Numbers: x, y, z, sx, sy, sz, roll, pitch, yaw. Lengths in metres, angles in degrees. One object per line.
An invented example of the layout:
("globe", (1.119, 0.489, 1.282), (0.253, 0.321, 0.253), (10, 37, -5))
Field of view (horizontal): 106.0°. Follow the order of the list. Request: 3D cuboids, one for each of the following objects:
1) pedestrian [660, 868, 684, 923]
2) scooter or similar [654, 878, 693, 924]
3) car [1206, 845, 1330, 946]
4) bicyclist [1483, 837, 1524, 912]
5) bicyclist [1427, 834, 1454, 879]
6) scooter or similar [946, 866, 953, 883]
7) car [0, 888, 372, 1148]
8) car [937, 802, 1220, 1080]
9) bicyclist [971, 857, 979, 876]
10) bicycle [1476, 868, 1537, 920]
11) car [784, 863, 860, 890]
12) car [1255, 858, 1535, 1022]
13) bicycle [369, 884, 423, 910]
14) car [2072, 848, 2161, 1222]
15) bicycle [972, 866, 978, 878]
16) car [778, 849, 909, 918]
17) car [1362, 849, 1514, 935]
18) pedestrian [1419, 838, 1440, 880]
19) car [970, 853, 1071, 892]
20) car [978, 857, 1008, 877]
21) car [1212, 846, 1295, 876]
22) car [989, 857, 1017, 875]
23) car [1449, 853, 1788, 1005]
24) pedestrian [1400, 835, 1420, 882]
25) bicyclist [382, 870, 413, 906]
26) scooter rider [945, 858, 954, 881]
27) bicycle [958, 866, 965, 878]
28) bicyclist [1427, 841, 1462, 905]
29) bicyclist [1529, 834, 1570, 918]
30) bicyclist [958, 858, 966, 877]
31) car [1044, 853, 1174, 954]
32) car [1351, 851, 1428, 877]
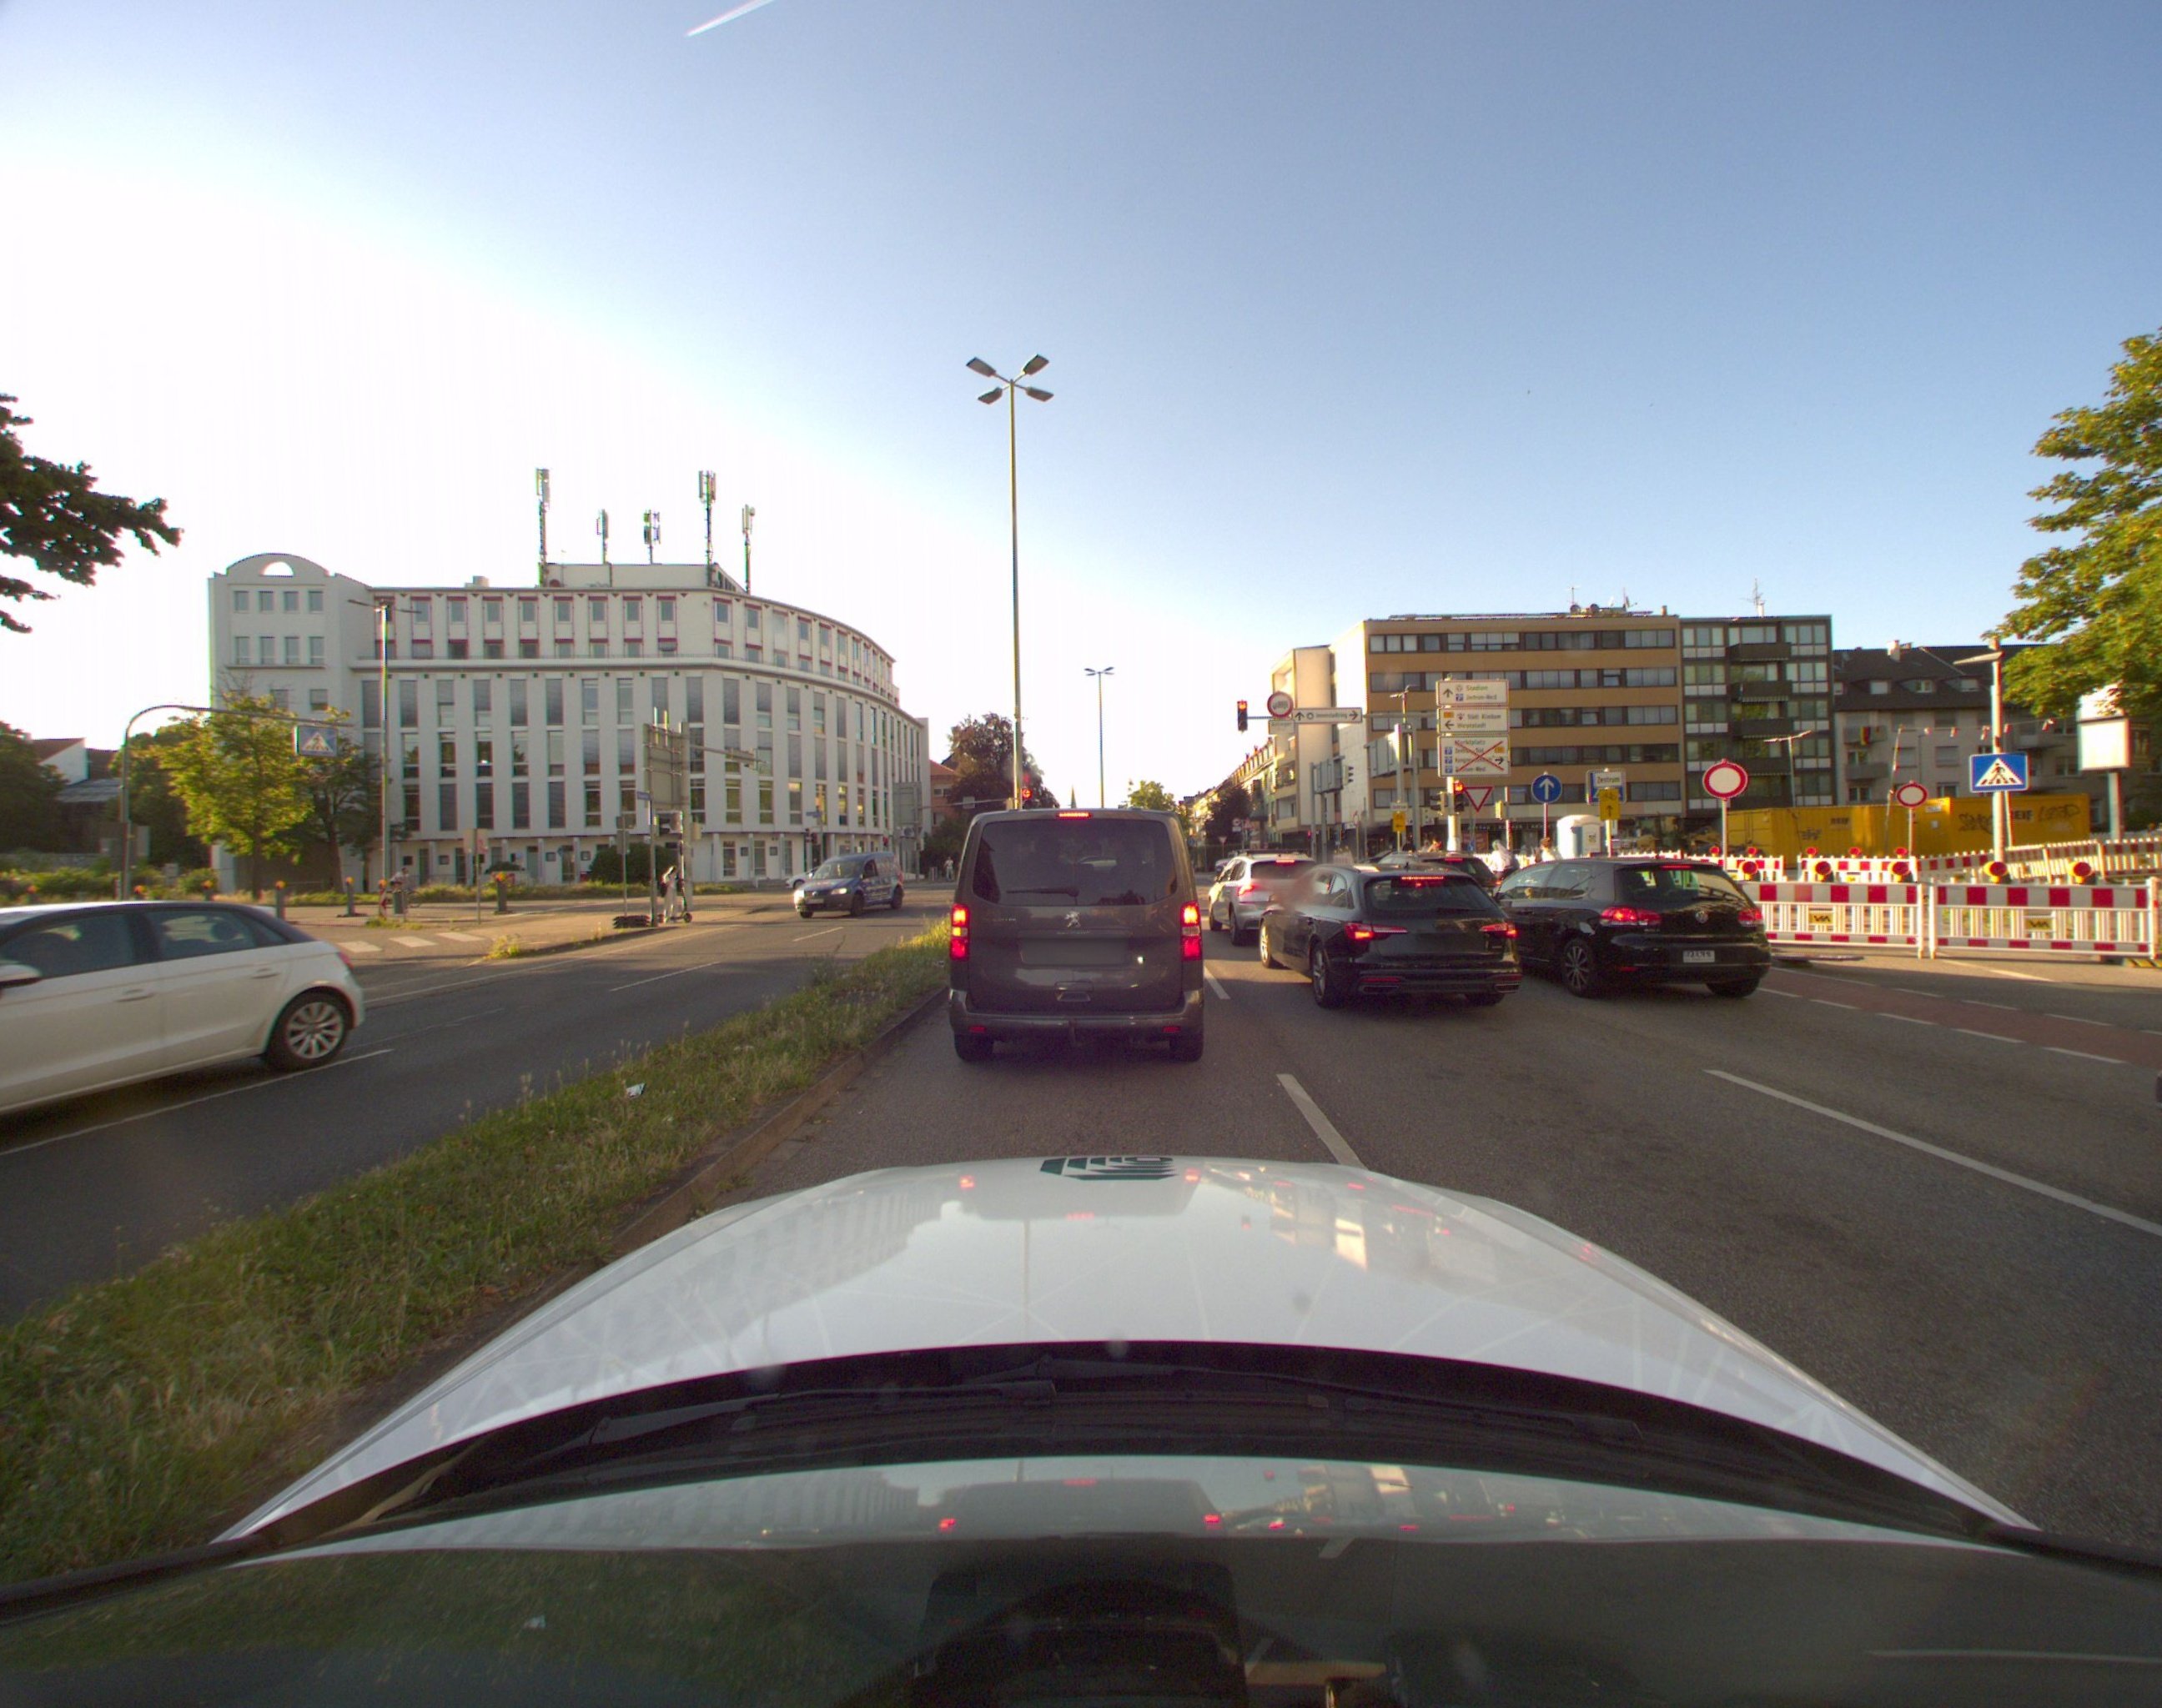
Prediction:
("pedestrian", (-11.527, 1.170, 22.960), (0.474, 1.505, 0.334), (-2, 0, -10))
("scooter or similar", (-11.478, 1.308, 22.952), (0.893, 1.234, 0.370), (-2, 0, -10))
("car", (3.296, 0.663, 14.950), (1.523, 1.613, 3.746), (0, 0, 2))
("bicyclist", (8.911, 0.427, 17.192), (0.439, 1.525, 0.725), (-2, 0, 2))
("bicyclist", (12.762, 0.089, 28.933), (0.616, 1.589, 0.814), (0, 0, -2))
("scooter or similar", (-9.467, 1.464, 58.682), (0.284, 1.189, 1.169), (-2, 0, 2))
("car", (-7.004, 1.020, 5.141), (1.685, 1.387, 3.688), (-3, 0, 2))
("car", (0.053, 0.590, 7.740), (1.900, 1.863, 4.528), (0, 0, 2))
("bicyclist", (-8.797, 1.052, 67.655), (0.475, 1.555, 0.510), (-2, 0, 1))
("bicycle", (8.912, 0.812, 17.108), (0.335, 1.008, 1.856), (-2, 0, 2))
("car", (-14.752, 1.261, 46.513), (3.775, 1.372, 1.648), (-2, 0, -4))
("car", (3.200, 0.761, 9.247), (1.675, 1.421, 4.215), (0, 0, 2))
("bicycle", (-29.380, 1.847, 34.941), (1.795, 1.042, 0.502), (-2, 0, -5))
("car", (5.115, 0.691, 1.121), (1.809, 1.449, 4.665), (-1, 0, -1))
("bicycle", (-8.791, 1.472, 67.669), (0.275, 0.949, 1.073), (-2, 0, 2))
("car", (-6.935, 0.802, 24.330), (1.981, 1.817, 4.242), (-2, 0, 10))
("car", (6.577, 0.645, 15.348), (1.499, 1.449, 3.306), (0, 0, 2))
("pedestrian", (14.007, 0.201, 32.758), (0.599, 1.671, 0.455), (-2, 0, 3))
("car", (-2.460, 0.729, 34.147), (1.681, 1.441, 4.269), (-2, 0, 40))
("car", (-6.750, 0.990, 62.772), (1.850, 1.420, 4.000), (-2, 0, 0))
("car", (9.119, 0.351, 43.100), (3.998, 1.418, 1.671), (-2, 0, -18))
("car", (-6.519, 1.003, 68.406), (1.850, 1.420, 4.000), (-2, 0, 0))
("car", (5.975, 0.716, 9.645), (1.627, 1.449, 3.746), (0, 0, 2))
("pedestrian", (13.215, 0.176, 32.690), (0.567, 1.834, 0.488), (-2, 0, 4))
("bicyclist", (-29.306, 1.437, 34.942), (0.884, 1.496, 0.457), (-2, 0, -5))
("scooter rider", (-9.469, 1.110, 58.703), (0.479, 1.697, 0.636), (-2, 0, 1))
("bicycle", (-9.810, 1.495, 66.855), (0.289, 0.949, 1.073), (-2, 0, 2))
("bicyclist", (8.977, 0.462, 20.128), (0.511, 1.525, 0.725), (-2, 0, 1))
("bicyclist", (8.643, 0.403, 15.039), (0.439, 1.525, 0.482), (-2, 0, 1))
("bicyclist", (-9.774, 1.082, 66.901), (0.461, 1.522, 0.469), (-2, 0, 1))
("car", (0.503, 0.777, 14.741), (1.986, 1.530, 4.002), (-2, 0, 2))
("car", (17.964, 0.568, 47.546), (3.809, 1.354, 1.725), (-2, 0, -4))
